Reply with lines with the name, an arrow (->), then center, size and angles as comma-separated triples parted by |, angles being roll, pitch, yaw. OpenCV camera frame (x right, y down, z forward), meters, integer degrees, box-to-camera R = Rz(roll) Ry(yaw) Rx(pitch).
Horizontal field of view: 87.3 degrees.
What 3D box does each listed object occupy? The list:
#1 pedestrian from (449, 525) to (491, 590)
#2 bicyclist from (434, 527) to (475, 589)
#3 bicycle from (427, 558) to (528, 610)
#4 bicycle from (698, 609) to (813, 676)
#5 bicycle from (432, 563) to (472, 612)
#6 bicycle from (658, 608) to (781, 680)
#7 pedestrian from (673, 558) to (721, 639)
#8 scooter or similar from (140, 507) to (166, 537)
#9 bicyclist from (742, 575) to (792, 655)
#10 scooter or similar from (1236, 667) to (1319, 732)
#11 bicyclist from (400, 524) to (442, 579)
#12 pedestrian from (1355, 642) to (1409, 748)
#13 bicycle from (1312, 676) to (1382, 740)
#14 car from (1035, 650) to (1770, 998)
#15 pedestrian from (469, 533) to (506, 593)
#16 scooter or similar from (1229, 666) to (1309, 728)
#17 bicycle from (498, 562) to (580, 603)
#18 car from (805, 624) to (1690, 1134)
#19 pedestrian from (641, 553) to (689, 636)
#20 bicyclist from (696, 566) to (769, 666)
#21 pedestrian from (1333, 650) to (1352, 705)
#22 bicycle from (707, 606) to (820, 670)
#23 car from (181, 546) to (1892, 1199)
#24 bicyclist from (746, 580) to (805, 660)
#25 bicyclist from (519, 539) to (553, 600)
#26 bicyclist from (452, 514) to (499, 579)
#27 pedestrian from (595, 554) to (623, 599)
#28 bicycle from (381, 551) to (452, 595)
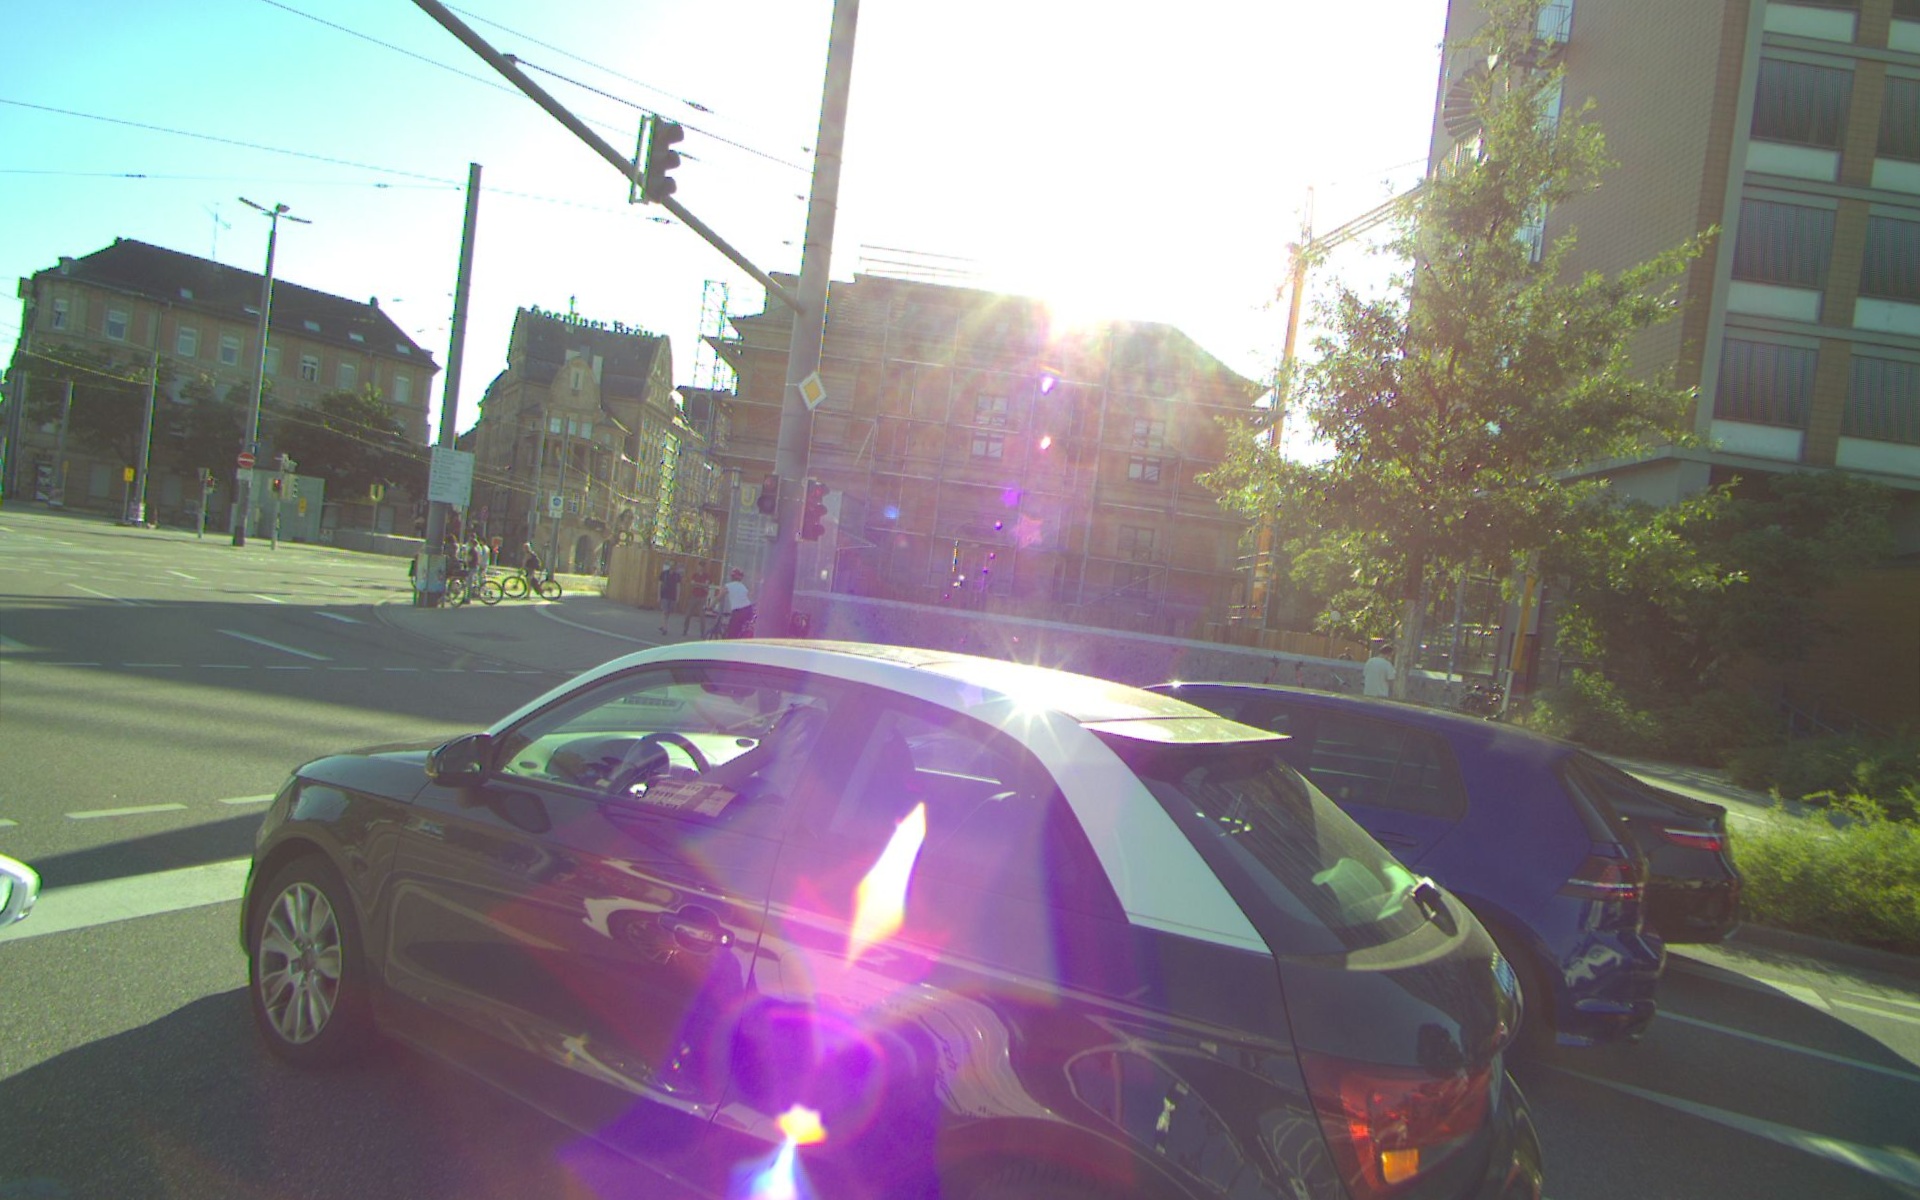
pedestrian -> -16.423, -1.411, 33.749 | 0.748, 2.037, 0.733 | 7, -1, 25
bicyclist -> -12.687, -1.046, 25.248 | 0.703, 1.456, 0.940 | 8, -1, -30
bicycle -> -12.813, -0.409, 26.773 | 2.294, 1.061, 0.696 | 9, -2, -28
bicycle -> -3.714, 0.753, 18.237 | 1.999, 0.976, 0.659 | 6, 2, 27
bicycle -> -12.740, -0.332, 25.181 | 0.693, 1.061, 2.303 | 9, -1, -29
bicycle -> -4.143, 0.746, 17.289 | 1.999, 0.974, 0.660 | 6, -1, 27
pedestrian -> -6.276, -0.020, 24.020 | 0.672, 1.828, 0.672 | 7, -1, 11
scooter or similar -> -42.041, -4.067, 52.388 | 0.784, 1.392, 1.885 | 8, -2, -44
bicyclist -> -3.780, 0.312, 19.765 | 0.661, 1.471, 0.618 | 7, -1, 3
scooter or similar -> 5.894, 1.839, 18.685 | 1.348, 1.007, 0.342 | 7, -1, 25
bicyclist -> -16.725, -1.519, 31.242 | 0.930, 1.575, 0.516 | 7, -1, 23
pedestrian -> 6.974, 1.549, 16.618 | 0.592, 1.662, 0.677 | 7, 3, 29
bicycle -> 7.106, 1.971, 18.521 | 0.352, 1.015, 1.149 | 8, -2, -29
car -> 2.989, 1.391, 7.503 | 4.436, 1.420, 1.726 | 6, -2, 32
pedestrian -> -16.157, -1.258, 34.383 | 0.678, 1.945, 0.649 | 7, -1, 25
scooter or similar -> 5.968, 1.868, 19.479 | 1.346, 1.007, 0.343 | 7, -1, 13
bicycle -> -13.260, -0.537, 31.719 | 2.289, 1.063, 0.532 | 5, 2, -25
car -> 1.287, 1.103, 5.335 | 3.934, 1.420, 1.627 | 6, -2, 32
pedestrian -> -6.878, -0.128, 23.479 | 0.672, 1.830, 0.672 | 7, 2, 11
bicyclist -> -3.882, 0.278, 17.194 | 0.781, 1.571, 0.668 | 7, -1, 27
pedestrian -> 12.585, 2.555, 33.122 | 0.369, 1.752, 0.444 | 7, -1, 17
bicycle -> -3.846, 0.729, 19.746 | 1.997, 0.976, 0.660 | 7, 2, 5
car -> -0.298, 0.794, 2.844 | 3.934, 1.420, 1.627 | 6, -2, 32
bicyclist -> -3.307, 0.366, 18.062 | 0.662, 1.330, 0.617 | 7, -1, 27
bicyclist -> -13.344, -0.943, 31.670 | 0.785, 1.800, 0.520 | 8, -1, -23
bicyclist -> -12.853, -1.406, 26.694 | 0.936, 1.575, 0.705 | 8, -1, -28
pedestrian -> -15.249, -1.034, 43.663 | 0.678, 1.835, 0.649 | 7, -1, 25
bicycle -> -16.917, -0.839, 31.282 | 2.278, 1.061, 0.536 | 8, -1, 24
